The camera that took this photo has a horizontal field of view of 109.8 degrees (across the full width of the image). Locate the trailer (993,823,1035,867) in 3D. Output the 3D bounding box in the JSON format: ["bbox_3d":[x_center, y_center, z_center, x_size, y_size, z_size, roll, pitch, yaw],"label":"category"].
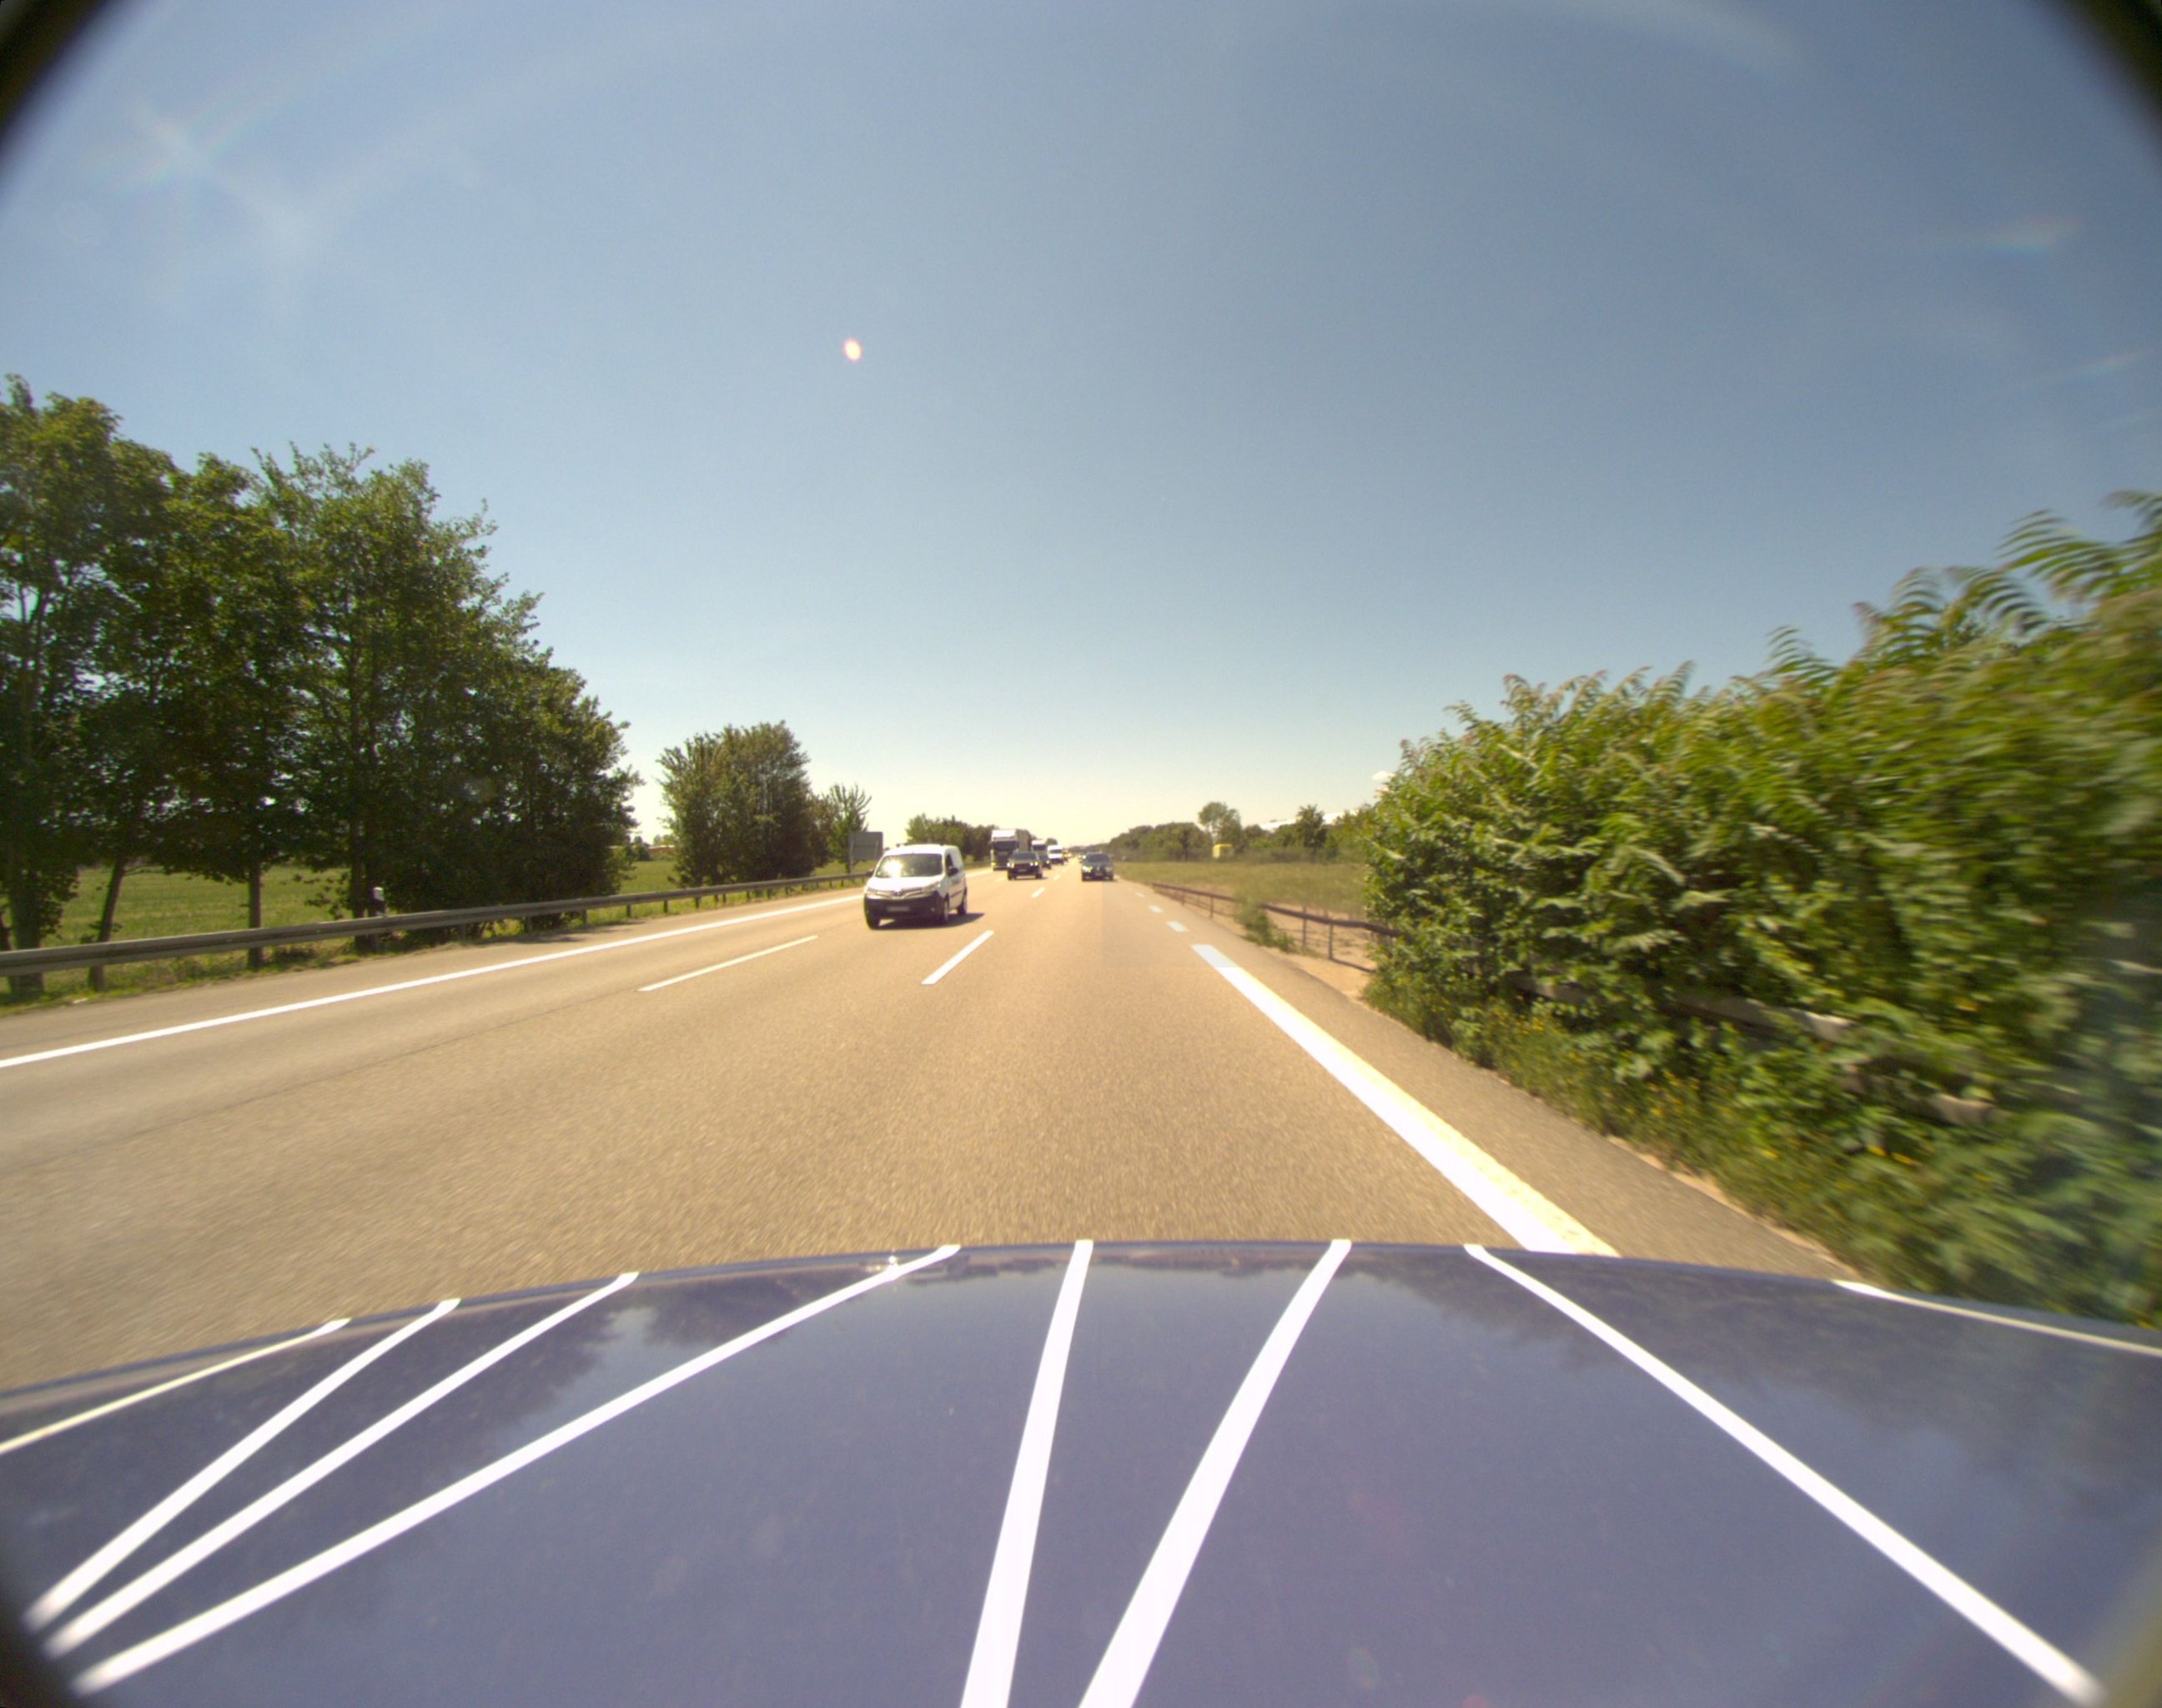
[{"bbox_3d":[-7.098,-0.895,82.828,2.817,4.279,14.253,-2,0,1],"label":"trailer"}]

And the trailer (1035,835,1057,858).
[{"bbox_3d":[-6.431,-1.326,142.468,2.699,3.943,13.962,-2,0,2],"label":"trailer"}]

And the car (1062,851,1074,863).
[{"bbox_3d":[-2.113,0.512,125.890,1.958,1.939,3.999,-2,0,0],"label":"car"}]

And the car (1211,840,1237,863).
[{"bbox_3d":[17.948,-0.338,95.820,2.171,2.763,5.799,1,0,0],"label":"car"}]

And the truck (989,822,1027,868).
[{"bbox_3d":[-7.225,-0.855,76.517,2.817,4.279,7.193,-2,0,1],"label":"truck"}]

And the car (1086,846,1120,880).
[{"bbox_3d":[1.146,0.453,40.315,1.690,1.646,3.462,-2,0,1],"label":"car"}]

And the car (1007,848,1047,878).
[{"bbox_3d":[-3.225,0.484,46.315,1.871,1.665,4.746,-2,0,2],"label":"car"}]

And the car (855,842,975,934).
[{"bbox_3d":[-3.813,0.707,18.294,1.858,1.852,4.701,-2,0,-1],"label":"car"}]

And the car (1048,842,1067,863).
[{"bbox_3d":[-2.948,-0.198,95.115,2.159,2.494,5.945,-2,0,0],"label":"car"}]

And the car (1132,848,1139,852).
[{"bbox_3d":[17.595,-1.296,245.470,1.569,1.416,3.469,1,1,-5],"label":"car"}]

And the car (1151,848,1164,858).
[{"bbox_3d":[13.875,-0.157,138.081,1.873,1.680,4.626,1,0,0],"label":"car"}]

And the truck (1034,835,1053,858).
[{"bbox_3d":[-6.667,-1.311,136.533,2.699,3.943,7.704,-2,0,2],"label":"truck"}]

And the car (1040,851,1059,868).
[{"bbox_3d":[-3.015,0.506,72.389,1.692,1.465,3.432,-2,0,-1],"label":"car"}]
